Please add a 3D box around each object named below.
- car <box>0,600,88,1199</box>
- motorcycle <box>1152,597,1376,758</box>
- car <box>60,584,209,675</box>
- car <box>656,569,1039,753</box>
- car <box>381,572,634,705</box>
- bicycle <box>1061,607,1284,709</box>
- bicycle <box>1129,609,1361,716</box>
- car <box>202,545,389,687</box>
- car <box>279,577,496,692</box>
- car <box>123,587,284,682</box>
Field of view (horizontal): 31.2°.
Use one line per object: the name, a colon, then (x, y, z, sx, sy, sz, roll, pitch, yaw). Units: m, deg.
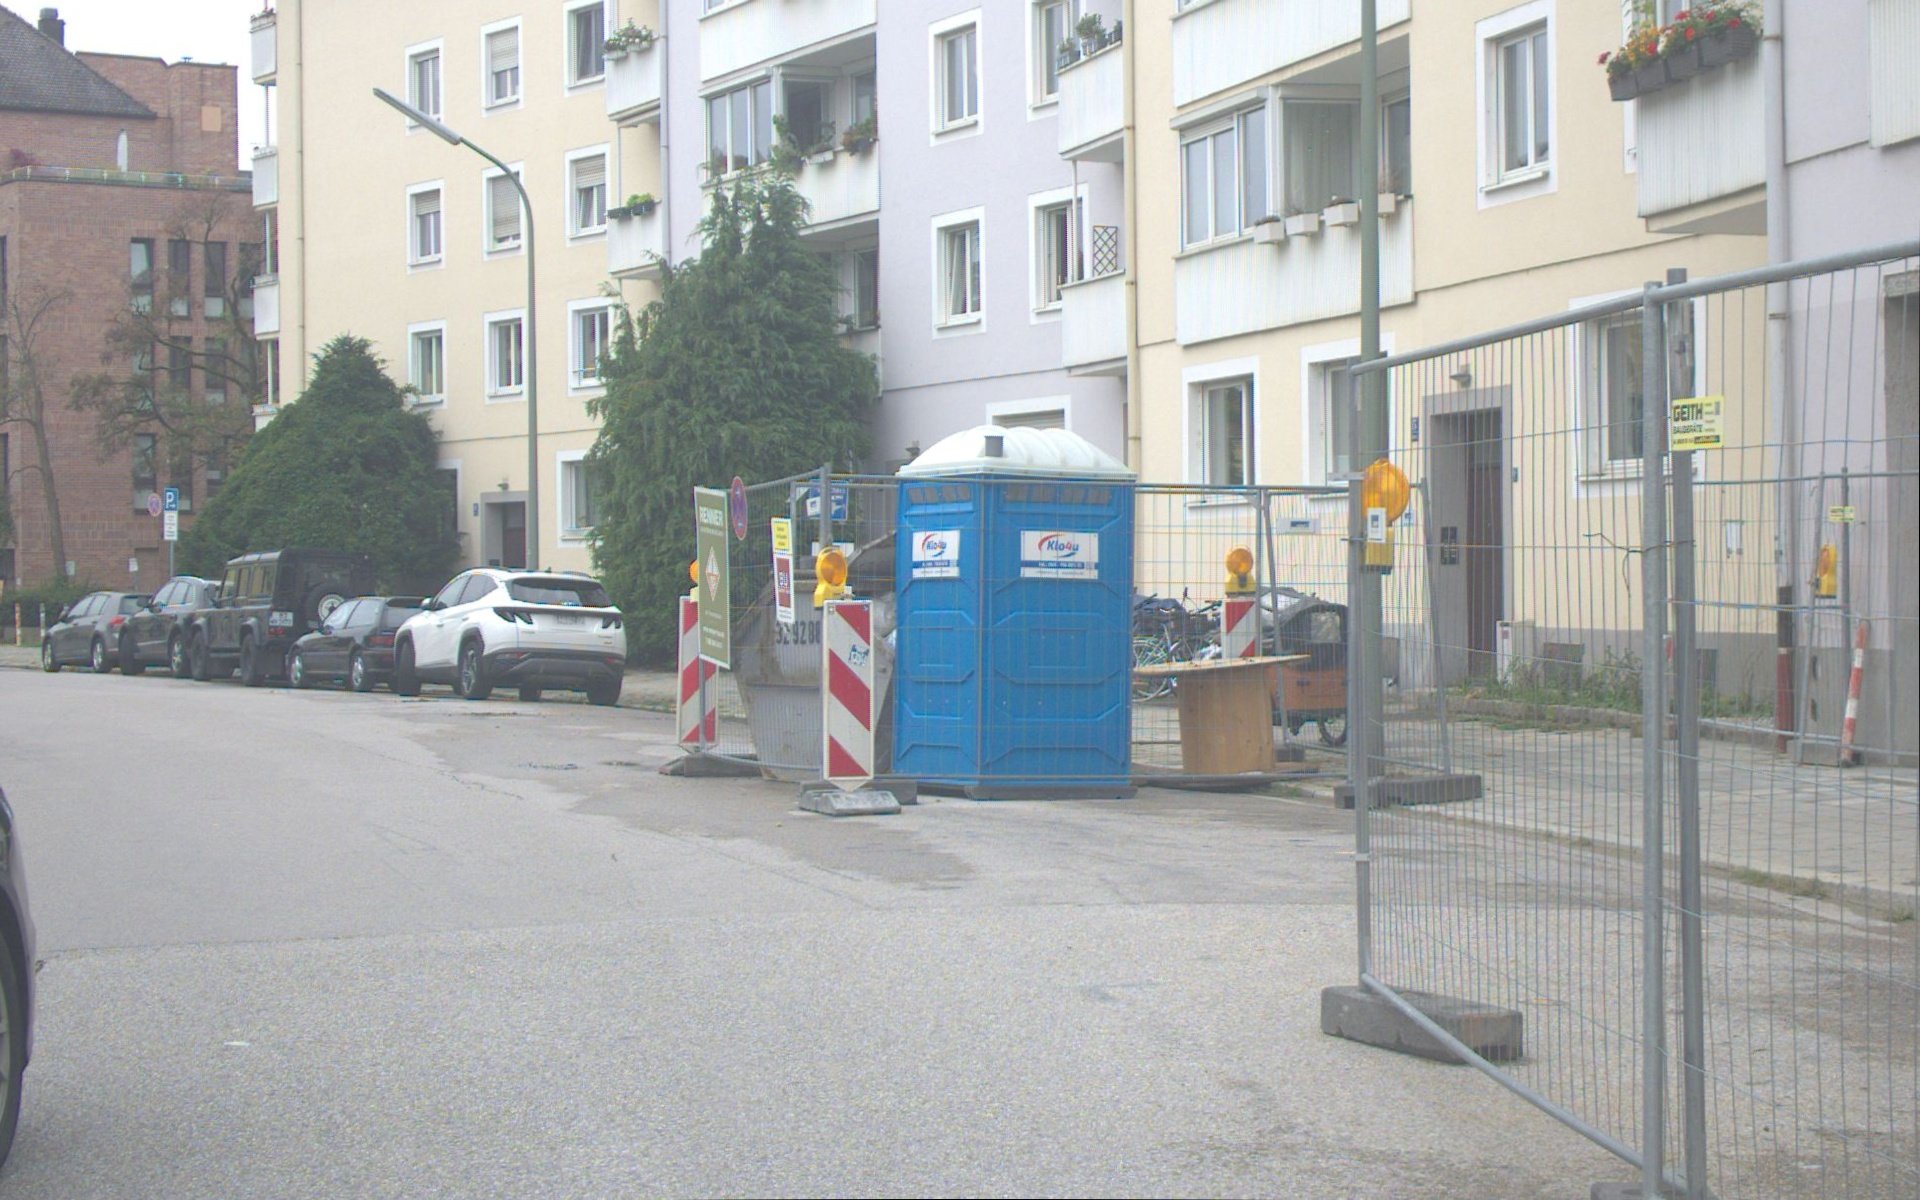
car: (-3.238, 0.775, 6.466, 1.920, 1.407, 4.704, -2, 1, 0)
motorcycle: (2.436, 0.599, 27.959, 0.931, 1.217, 2.508, 0, 1, -17)
car: (-14.452, 0.489, 60.049, 1.781, 1.505, 3.721, -1, 0, -25)
car: (-1.055, 0.468, 29.484, 1.780, 1.434, 4.282, -1, 1, -24)
car: (-5.660, 0.436, 42.622, 1.830, 1.568, 4.000, 0, 1, -28)
bicycle: (2.303, 0.620, 37.366, 2.232, 1.066, 0.920, 0, 1, -17)
bicycle: (2.975, 0.643, 35.973, 2.232, 1.066, 0.920, 0, 1, -17)
car: (-9.925, 0.220, 51.173, 1.781, 1.970, 3.721, -3, 1, -25)
car: (-7.898, 0.444, 47.210, 1.781, 1.514, 3.720, 0, 0, -29)
car: (-12.371, 0.541, 56.076, 1.780, 1.505, 3.721, 0, 0, -25)
